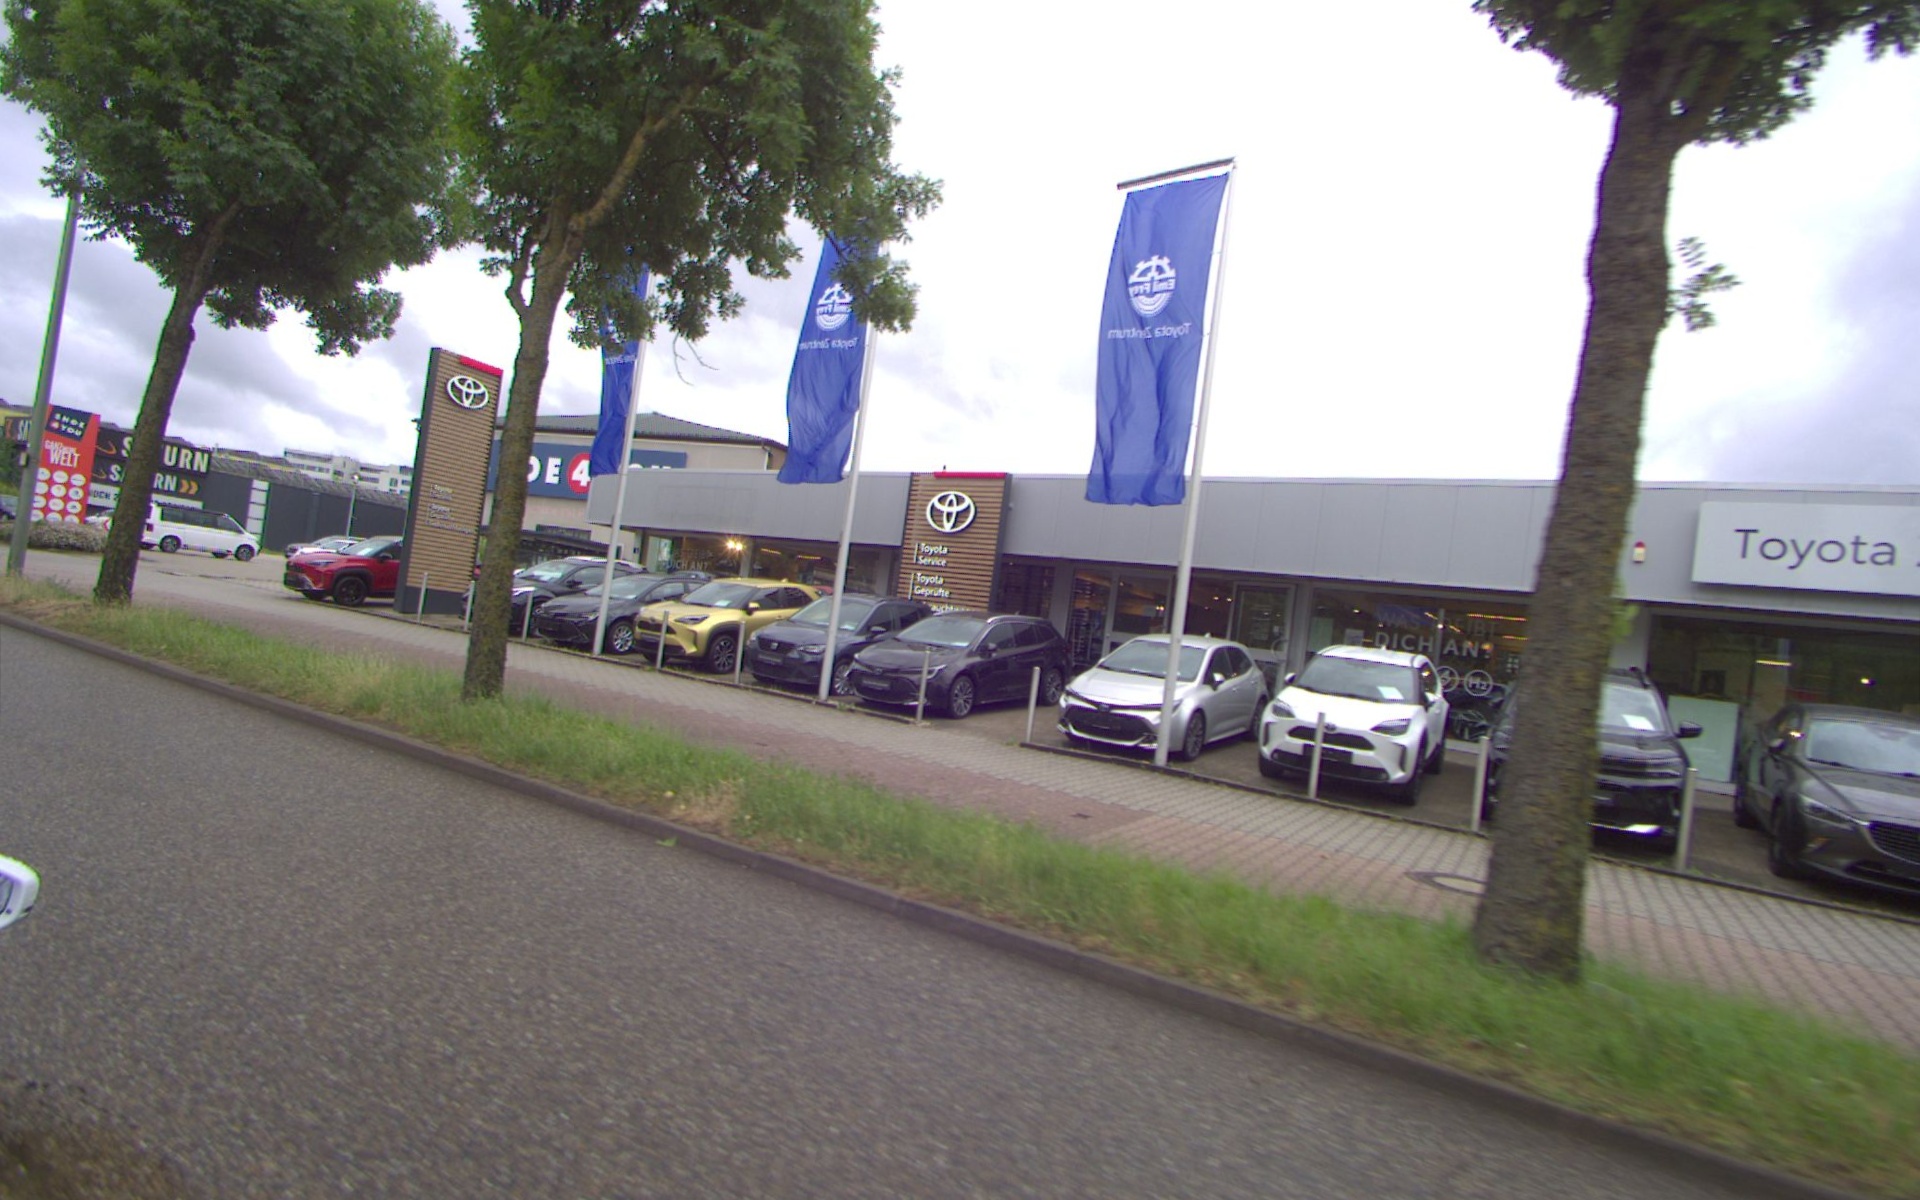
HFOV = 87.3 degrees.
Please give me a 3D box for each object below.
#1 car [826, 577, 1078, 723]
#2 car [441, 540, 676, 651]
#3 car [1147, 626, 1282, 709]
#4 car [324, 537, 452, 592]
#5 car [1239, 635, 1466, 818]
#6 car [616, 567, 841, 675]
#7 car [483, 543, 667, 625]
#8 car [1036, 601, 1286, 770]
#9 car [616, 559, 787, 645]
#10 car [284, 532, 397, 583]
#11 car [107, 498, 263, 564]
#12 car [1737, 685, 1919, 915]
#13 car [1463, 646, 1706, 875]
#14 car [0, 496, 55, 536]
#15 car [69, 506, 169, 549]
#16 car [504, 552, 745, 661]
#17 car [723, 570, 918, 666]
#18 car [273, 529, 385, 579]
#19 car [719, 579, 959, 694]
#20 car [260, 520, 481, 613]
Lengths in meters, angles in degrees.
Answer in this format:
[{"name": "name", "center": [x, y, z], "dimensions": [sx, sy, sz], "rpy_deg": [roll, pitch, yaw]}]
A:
[{"name": "car", "center": [0.011, 0.768, 15.549], "dimensions": [1.783, 1.809, 3.987], "rpy_deg": [7, 1, 35]}, {"name": "car", "center": [-8.034, -0.026, 20.491], "dimensions": [1.815, 1.666, 3.994], "rpy_deg": [7, -2, 33]}, {"name": "car", "center": [5.951, 1.613, 23.220], "dimensions": [1.647, 1.554, 3.991], "rpy_deg": [7, -1, 34]}, {"name": "car", "center": [-22.467, -1.365, 39.657], "dimensions": [1.728, 1.532, 4.000], "rpy_deg": [7, -2, 25]}, {"name": "car", "center": [5.004, 1.377, 12.494], "dimensions": [1.782, 1.609, 3.986], "rpy_deg": [8, 3, 31]}, {"name": "car", "center": [-4.003, 0.389, 17.997], "dimensions": [1.639, 1.586, 3.841], "rpy_deg": [7, 2, 30]}, {"name": "car", "center": [-10.141, -0.377, 26.773], "dimensions": [1.852, 1.641, 4.108], "rpy_deg": [7, 0, 37]}, {"name": "car", "center": [2.898, 1.021, 13.843], "dimensions": [1.783, 1.811, 3.982], "rpy_deg": [7, 4, 35]}, {"name": "car", "center": [-6.597, 0.037, 25.535], "dimensions": [4.056, 1.642, 1.875], "rpy_deg": [7, 0, 34]}, {"name": "car", "center": [-26.012, -1.748, 42.349], "dimensions": [1.646, 1.532, 3.651], "rpy_deg": [7, -2, 24]}, {"name": "car", "center": [-33.138, -2.900, 43.208], "dimensions": [1.954, 2.037, 4.838], "rpy_deg": [7, -2, 23]}, {"name": "car", "center": [8.967, 1.829, 9.856], "dimensions": [1.783, 1.606, 3.984], "rpy_deg": [7, 2, 35]}, {"name": "car", "center": [6.965, 1.537, 11.145], "dimensions": [1.783, 1.810, 3.984], "rpy_deg": [7, 3, 35]}, {"name": "car", "center": [-44.477, -4.041, 46.978], "dimensions": [4.188, 1.445, 1.583], "rpy_deg": [8, -1, 23]}, {"name": "car", "center": [-43.674, -3.768, 52.242], "dimensions": [4.862, 1.485, 1.887], "rpy_deg": [8, -1, 23]}, {"name": "car", "center": [-6.213, 0.190, 19.082], "dimensions": [1.771, 1.557, 3.993], "rpy_deg": [7, -1, 33]}, {"name": "car", "center": [-3.204, 0.386, 22.863], "dimensions": [4.056, 1.642, 1.875], "rpy_deg": [7, 0, 34]}, {"name": "car", "center": [-30.529, -2.186, 48.804], "dimensions": [1.711, 1.749, 4.259], "rpy_deg": [7, -2, 24]}, {"name": "car", "center": [-1.913, 0.623, 16.991], "dimensions": [1.684, 1.567, 3.986], "rpy_deg": [7, 1, 35]}, {"name": "car", "center": [-13.186, -0.704, 22.713], "dimensions": [1.766, 1.624, 3.843], "rpy_deg": [7, 1, 33]}]
